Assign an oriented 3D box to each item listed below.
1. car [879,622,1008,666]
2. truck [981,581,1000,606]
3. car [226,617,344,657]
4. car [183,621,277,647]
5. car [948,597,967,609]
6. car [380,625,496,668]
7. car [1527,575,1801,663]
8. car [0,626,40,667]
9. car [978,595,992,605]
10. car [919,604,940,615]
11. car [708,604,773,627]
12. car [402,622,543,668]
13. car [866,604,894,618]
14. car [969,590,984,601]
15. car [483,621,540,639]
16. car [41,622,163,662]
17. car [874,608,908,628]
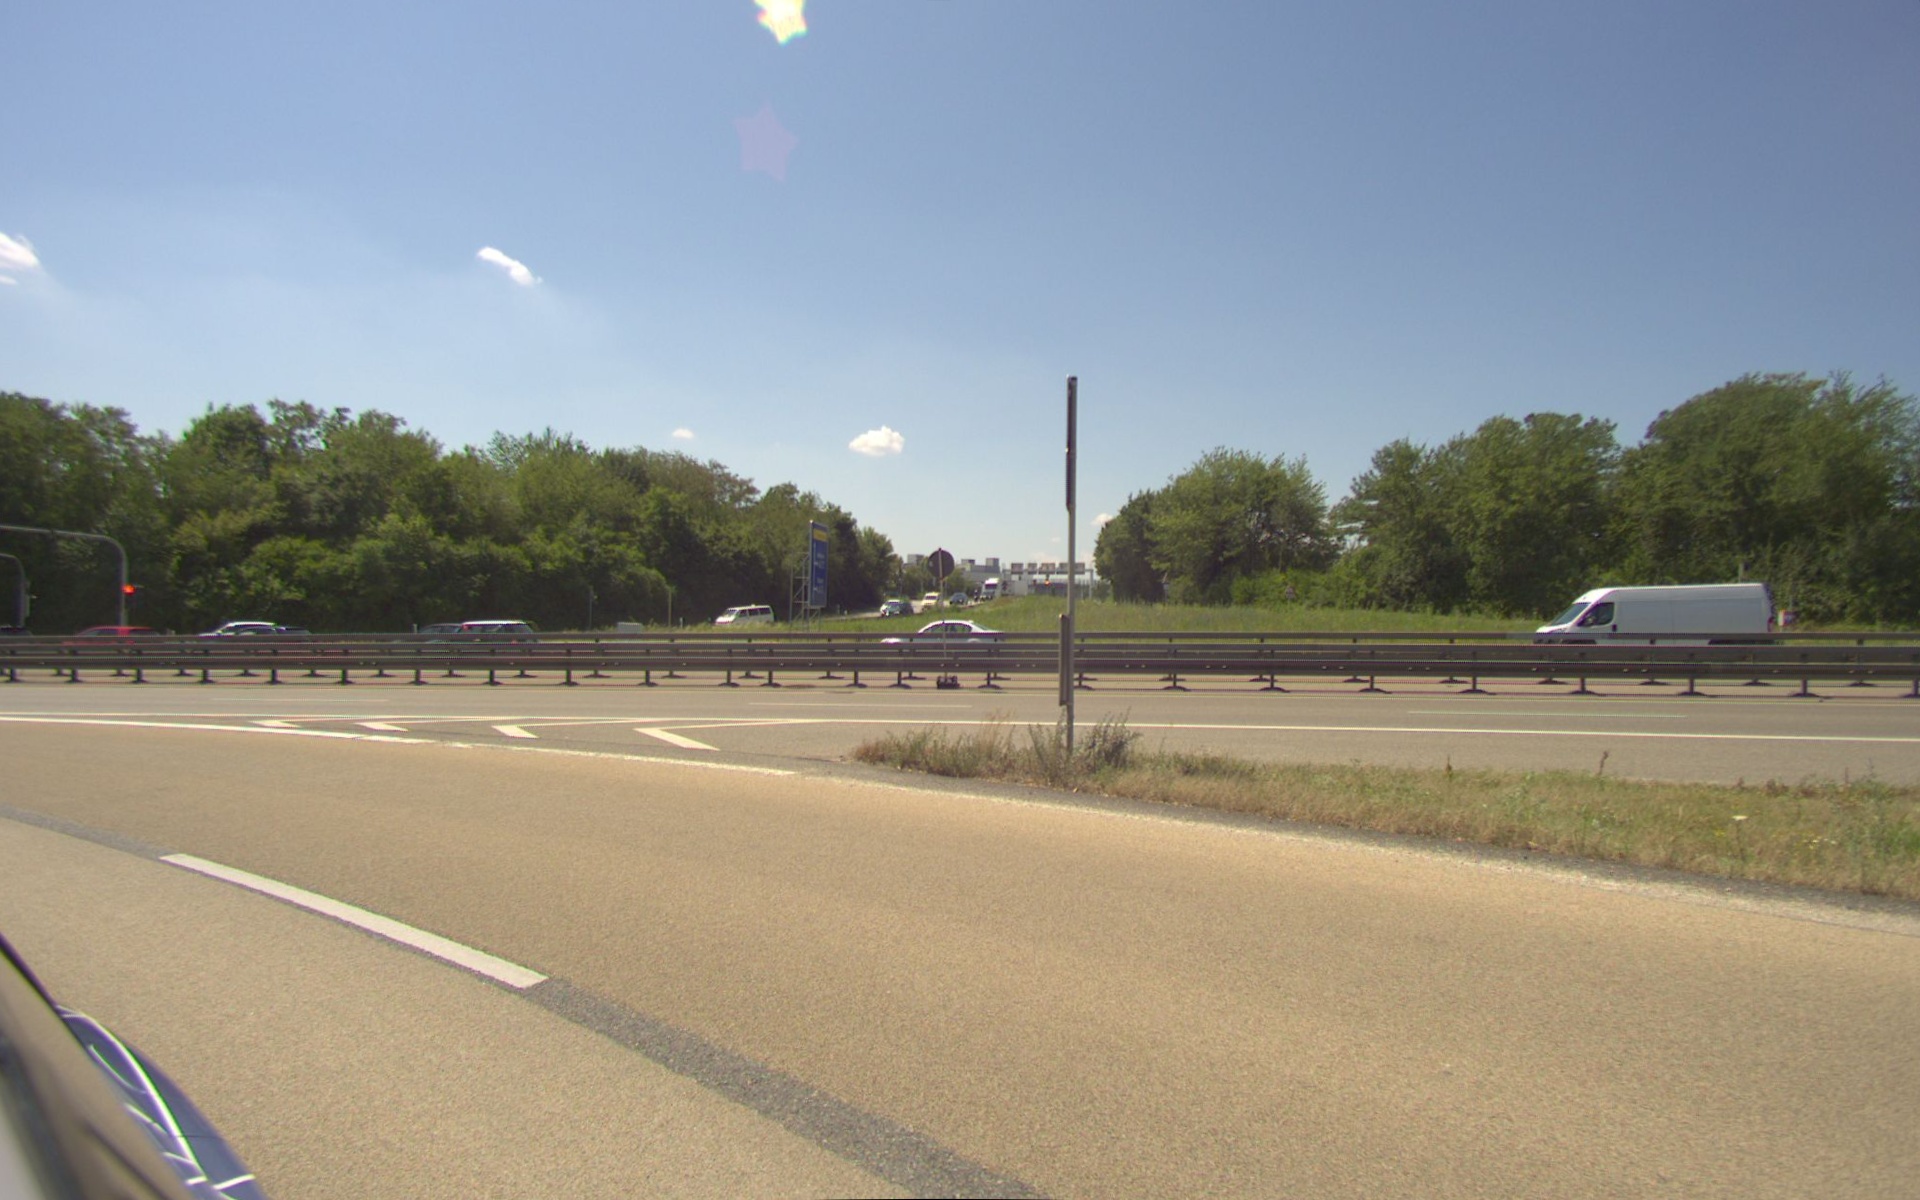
[{"bbox_3d":[-0.583,1.602,36.913,4.485,1.496,1.698,-1,0,10],"label":"car"},{"bbox_3d":[5.211,-1.060,172.396,2.801,4.190,3.988,-1,-1,10],"label":"truck"},{"bbox_3d":[-25.165,1.366,37.776,3.533,1.404,1.649,-1,0,11],"label":"car"},{"bbox_3d":[-37.831,1.756,52.553,3.880,1.231,1.714,0,-1,-34],"label":"car"},{"bbox_3d":[-0.319,0.421,130.636,1.585,1.443,3.732,-1,-2,14],"label":"car"},{"bbox_3d":[-18.950,1.688,36.760,3.628,1.460,1.482,-1,-1,11],"label":"car"},{"bbox_3d":[21.777,0.621,31.675,6.628,2.557,2.156,-1,-1,12],"label":"car"},{"bbox_3d":[-33.992,1.624,35.274,2.984,1.359,1.340,-1,-1,11],"label":"car"},{"bbox_3d":[3.684,0.015,150.974,1.582,1.443,3.559,-1,-2,9],"label":"car"},{"bbox_3d":[-3.431,1.057,114.626,1.517,1.175,4.060,-1,-1,12],"label":"car"},{"bbox_3d":[-16.756,1.219,77.532,2.009,1.653,5.062,-2,-2,29],"label":"car"},{"bbox_3d":[-15.349,1.400,31.914,3.880,1.358,1.514,-1,0,11],"label":"car"},{"bbox_3d":[-8.063,1.100,101.710,1.678,1.346,3.448,-1,0,17],"label":"car"},{"bbox_3d":[2.338,-0.618,143.448,1.582,1.443,3.559,-1,-2,9],"label":"car"},{"bbox_3d":[-29.681,1.971,67.009,3.128,1.158,1.632,0,-1,-44],"label":"car"},{"bbox_3d":[-33.196,1.606,39.187,3.659,1.460,1.564,-1,0,7],"label":"car"},{"bbox_3d":[-6.160,1.577,90.530,1.979,1.721,4.200,-1,0,12],"label":"car"}]
